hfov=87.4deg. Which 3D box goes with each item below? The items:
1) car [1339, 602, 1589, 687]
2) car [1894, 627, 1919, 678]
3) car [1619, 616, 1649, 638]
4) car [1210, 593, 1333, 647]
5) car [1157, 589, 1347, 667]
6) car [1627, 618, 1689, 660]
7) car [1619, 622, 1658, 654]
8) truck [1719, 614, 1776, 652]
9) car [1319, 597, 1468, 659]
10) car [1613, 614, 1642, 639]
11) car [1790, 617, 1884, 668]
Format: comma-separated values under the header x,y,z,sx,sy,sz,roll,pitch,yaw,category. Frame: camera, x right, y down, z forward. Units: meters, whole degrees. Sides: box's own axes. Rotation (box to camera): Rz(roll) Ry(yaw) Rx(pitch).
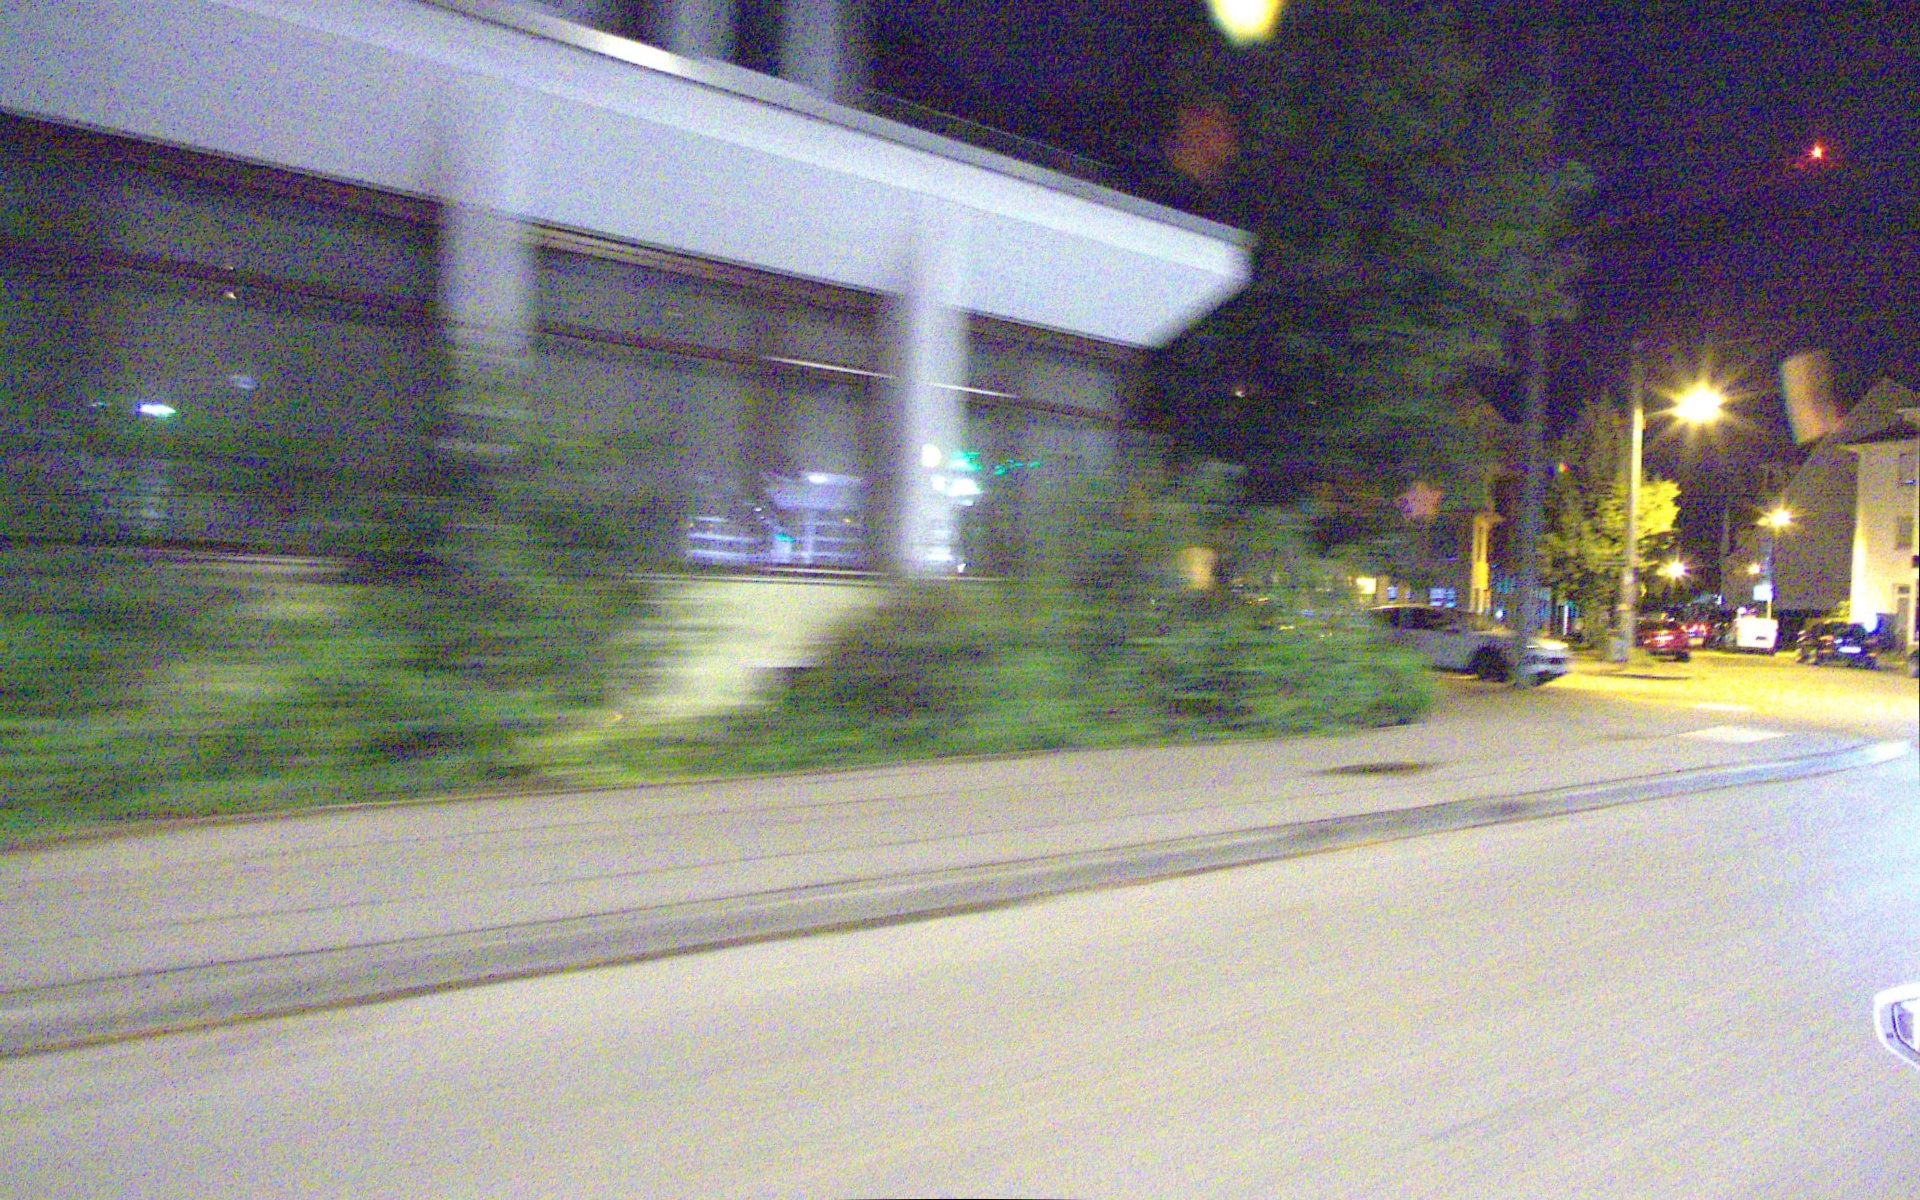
x,y,z,sx,sy,sz,roll,pitch,yaw,category
11.041,0.916,22.363,1.981,1.650,4.635,2,-1,-31,car
28.357,1.520,28.275,1.858,1.443,4.722,1,-1,28,car
56.051,2.245,83.508,1.873,1.758,3.986,1,-1,36,car
11.909,0.728,38.701,1.938,1.777,4.321,5,-1,-28,car
7.864,0.679,27.571,2.005,1.915,4.962,1,0,-31,car
28.751,1.585,41.450,1.810,1.634,4.251,0,-2,31,car
34.884,1.925,51.671,1.579,1.508,3.547,0,-1,33,car
40.752,1.703,52.061,1.863,1.831,4.104,1,-1,32,truck
14.531,0.905,33.913,1.933,1.777,4.321,4,0,-28,car
51.914,2.054,78.194,1.770,1.833,3.989,1,0,33,car
32.927,1.555,37.822,1.886,1.666,4.102,4,1,31,car
